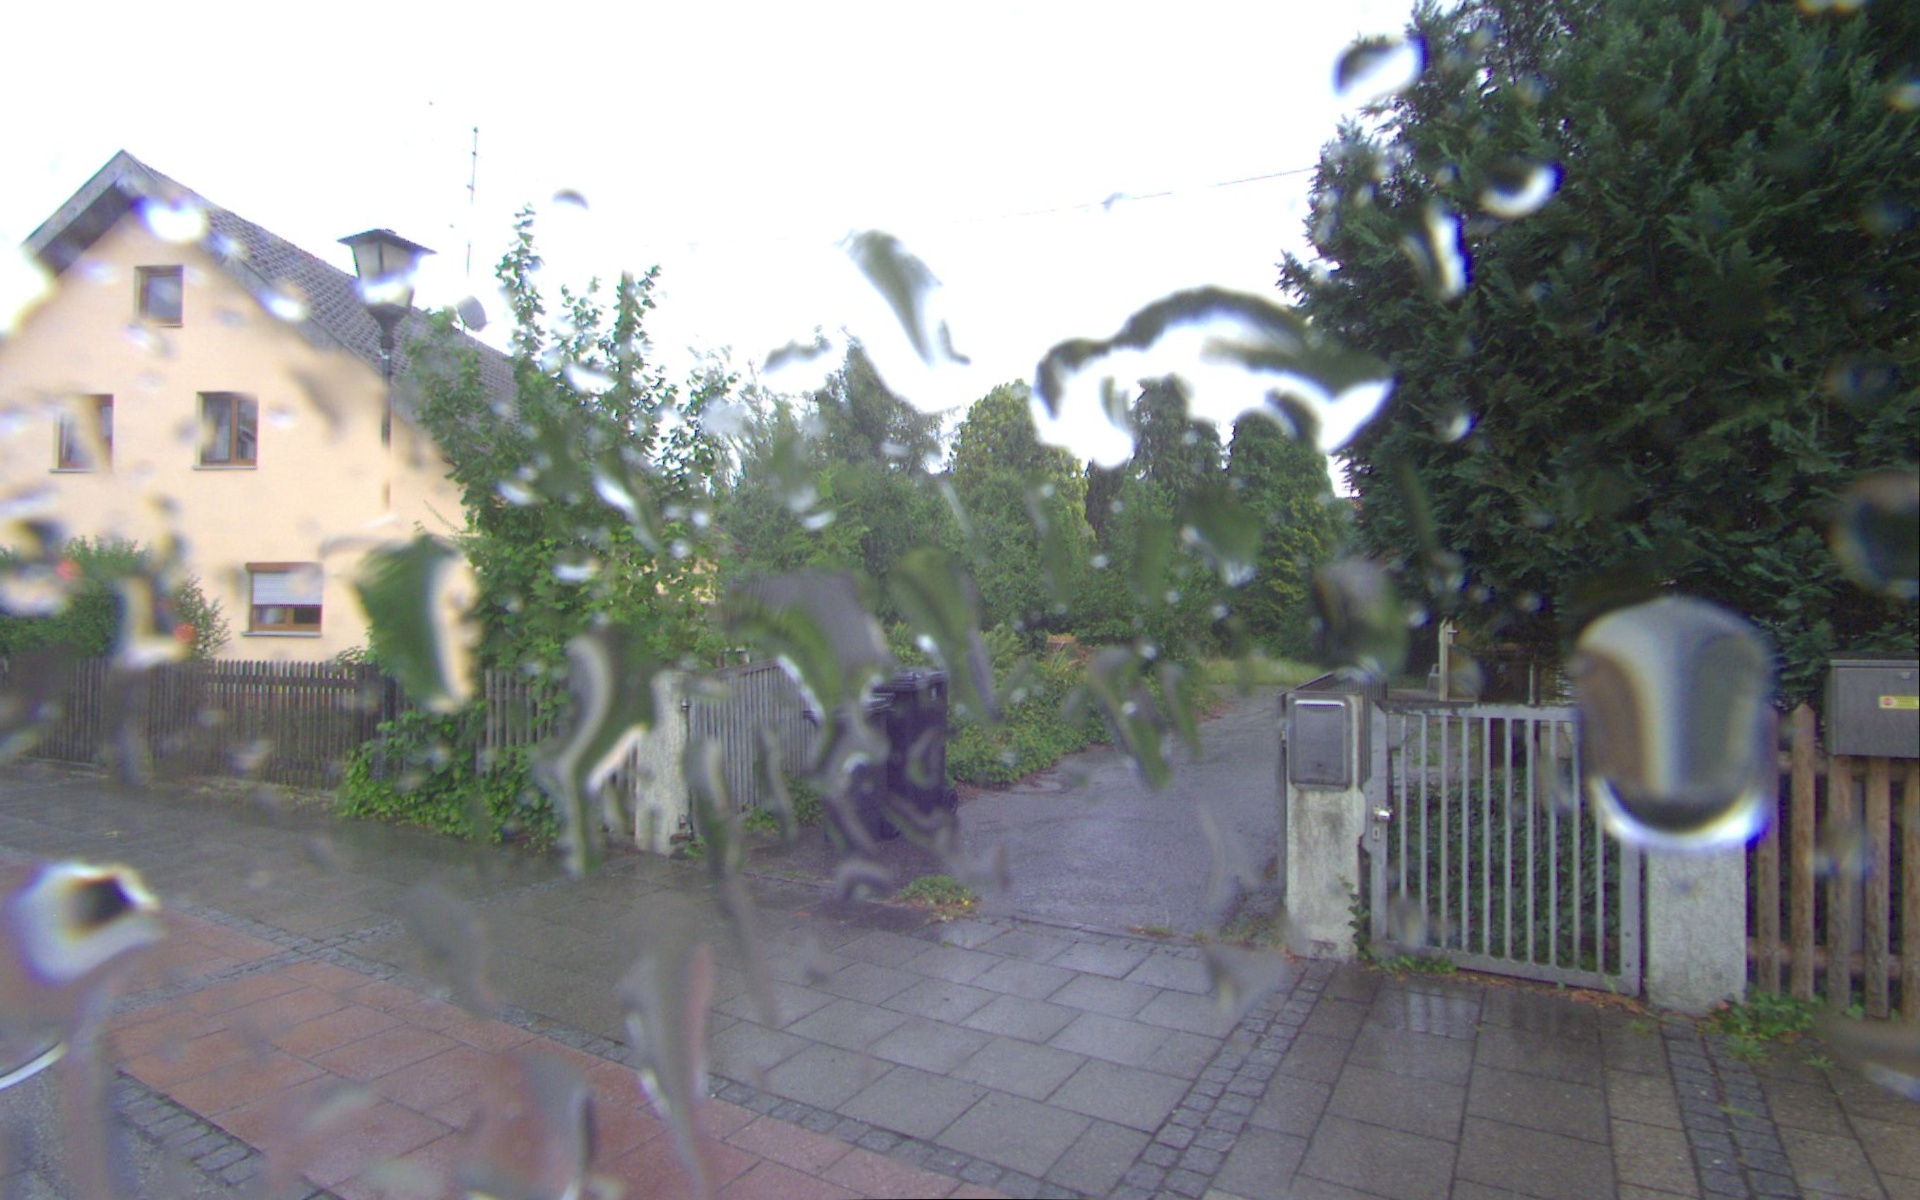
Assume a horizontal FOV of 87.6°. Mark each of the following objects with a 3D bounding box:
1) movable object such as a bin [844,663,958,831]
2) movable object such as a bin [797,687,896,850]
[{"bbox_3d":[-0.403,0.987,6.949,0.545,1.054,0.574,-1,1,33],"label":"movable object such as a bin"},{"bbox_3d":[-0.724,1.055,6.416,0.440,0.948,0.432,-1,1,33],"label":"movable object such as a bin"}]
